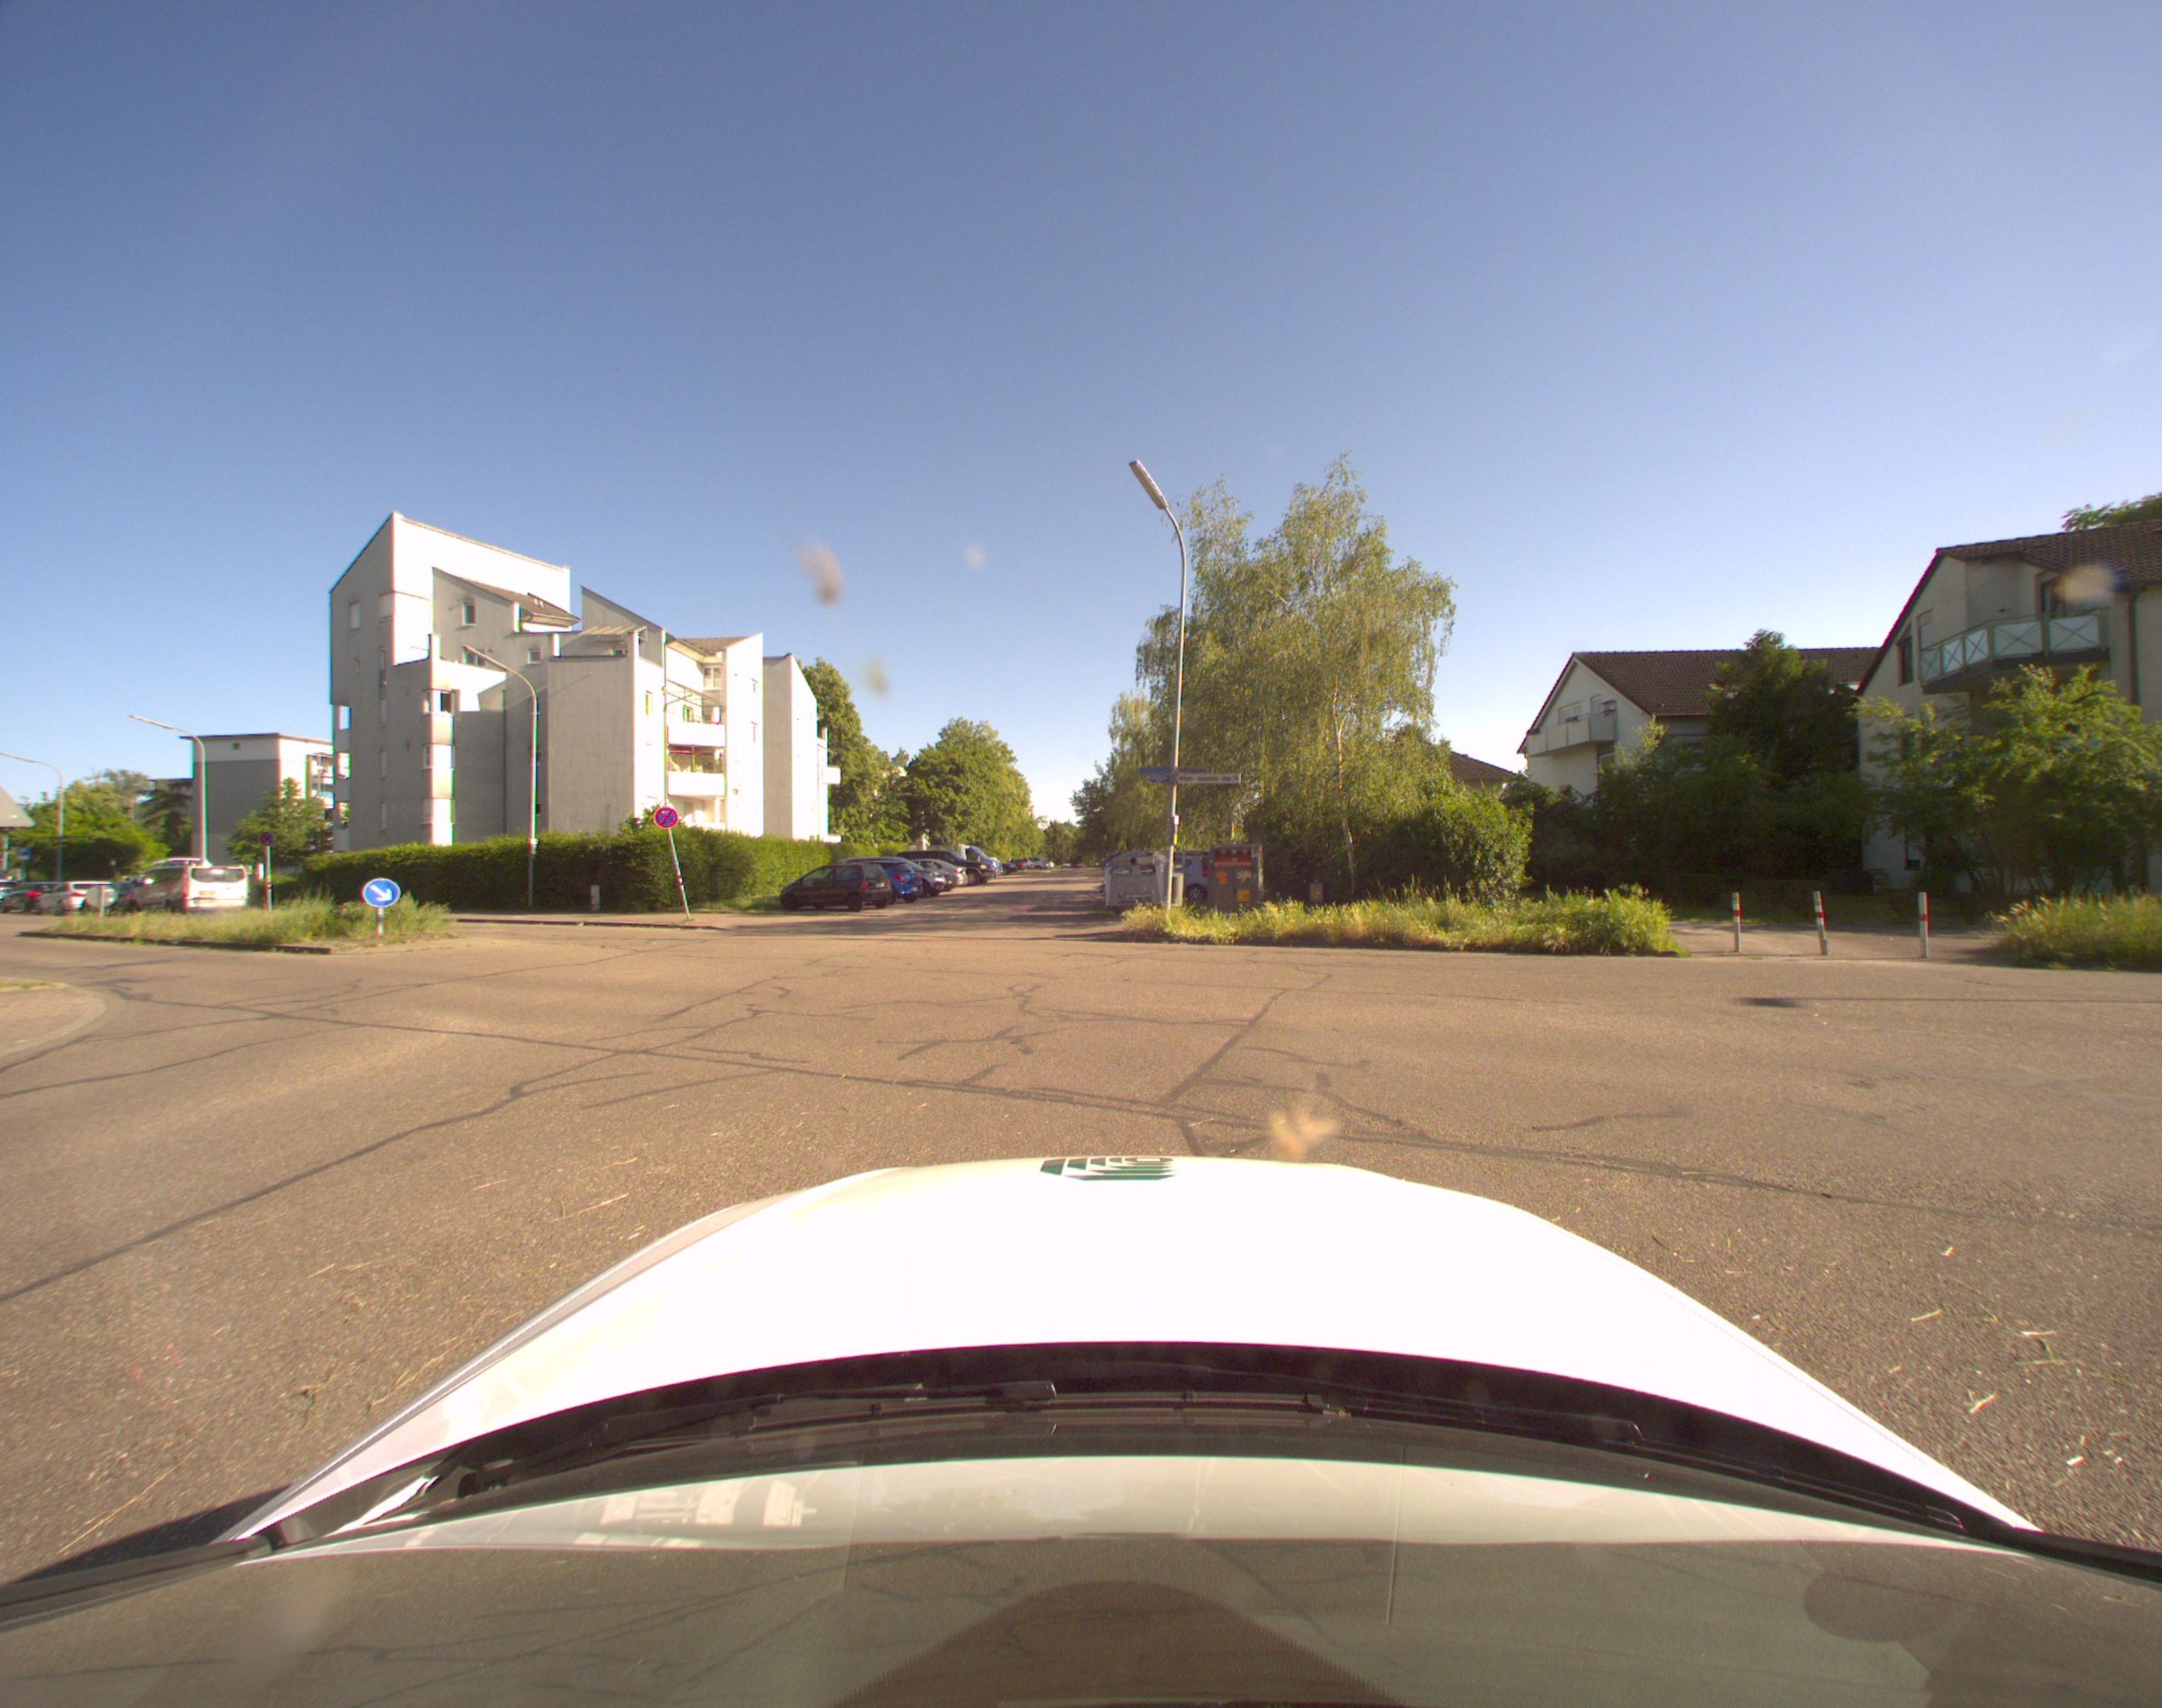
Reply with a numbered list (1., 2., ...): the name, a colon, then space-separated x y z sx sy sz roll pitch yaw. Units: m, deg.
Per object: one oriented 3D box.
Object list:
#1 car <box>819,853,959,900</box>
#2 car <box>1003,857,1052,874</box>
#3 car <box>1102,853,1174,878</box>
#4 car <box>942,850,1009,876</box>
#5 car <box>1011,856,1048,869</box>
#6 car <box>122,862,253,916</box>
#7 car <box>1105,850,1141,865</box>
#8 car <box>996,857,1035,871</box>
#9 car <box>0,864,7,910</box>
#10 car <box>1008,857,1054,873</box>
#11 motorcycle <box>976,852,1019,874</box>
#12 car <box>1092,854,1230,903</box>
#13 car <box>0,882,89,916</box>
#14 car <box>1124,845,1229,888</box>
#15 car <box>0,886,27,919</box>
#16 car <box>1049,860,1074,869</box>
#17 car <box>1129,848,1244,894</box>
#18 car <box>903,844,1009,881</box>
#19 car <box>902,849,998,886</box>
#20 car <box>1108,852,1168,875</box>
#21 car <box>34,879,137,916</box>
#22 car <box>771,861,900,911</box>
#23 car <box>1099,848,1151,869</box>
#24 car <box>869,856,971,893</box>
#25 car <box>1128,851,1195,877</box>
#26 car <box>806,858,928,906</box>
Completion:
1. car: -7.522 0.863 32.082 4.965 1.654 1.788 -2 0 7
2. car: -4.539 0.952 69.378 3.926 1.334 1.847 -1 0 1
3. car: 3.266 0.642 46.418 3.968 1.401 1.800 0 -1 4
4. car: -7.629 0.670 59.303 4.504 1.771 1.848 -1 0 2
5. car: -5.702 0.967 89.885 3.926 1.334 1.847 -1 0 1
6. car: -34.386 1.339 31.328 4.892 1.912 2.011 -2 -1 25
7. car: 4.807 0.379 92.681 3.968 1.708 1.800 0 -1 4
8. car: -6.927 1.062 86.682 3.926 1.334 1.847 -1 0 1
9. car: -61.585 1.848 44.835 5.781 2.487 2.124 -2 -3 29
10. car: -4.411 0.953 72.182 3.926 1.334 1.847 -1 0 1
11. motorcycle: -6.470 0.701 63.460 3.178 1.596 0.924 -1 0 3
12. car: 2.502 0.730 25.261 4.023 1.439 1.641 0 0 14
13. car: -48.716 2.092 38.156 4.320 1.488 1.927 -2 -1 27
14. car: 3.915 0.500 33.778 4.097 1.706 1.788 0 1 -5
15. car: -56.765 2.538 42.112 4.320 1.666 1.927 -2 -1 27
16. car: -2.853 1.493 118.926 3.632 1.212 1.847 -1 0 1
17. car: 3.938 0.613 30.793 4.044 1.603 1.789 0 1 -4
18. car: -7.764 0.508 51.000 6.237 2.147 2.410 -1 0 -1
19. car: -6.728 0.680 42.118 4.499 1.771 1.850 -1 0 6
20. car: 3.913 0.651 55.696 3.968 1.585 1.800 0 -1 4
21. car: -43.615 1.904 35.676 4.320 1.488 1.927 -2 -1 27
22. car: -7.685 0.973 25.573 3.494 1.466 1.712 -1 0 18
23. car: 3.482 0.355 64.133 3.968 1.585 1.800 0 -1 4
24. car: -7.080 0.885 36.054 4.131 1.455 1.619 -2 -1 -1
25. car: 4.900 0.608 49.779 3.968 1.585 1.800 0 -1 4
26. car: -7.351 0.953 28.081 3.653 1.496 1.658 -2 0 14
